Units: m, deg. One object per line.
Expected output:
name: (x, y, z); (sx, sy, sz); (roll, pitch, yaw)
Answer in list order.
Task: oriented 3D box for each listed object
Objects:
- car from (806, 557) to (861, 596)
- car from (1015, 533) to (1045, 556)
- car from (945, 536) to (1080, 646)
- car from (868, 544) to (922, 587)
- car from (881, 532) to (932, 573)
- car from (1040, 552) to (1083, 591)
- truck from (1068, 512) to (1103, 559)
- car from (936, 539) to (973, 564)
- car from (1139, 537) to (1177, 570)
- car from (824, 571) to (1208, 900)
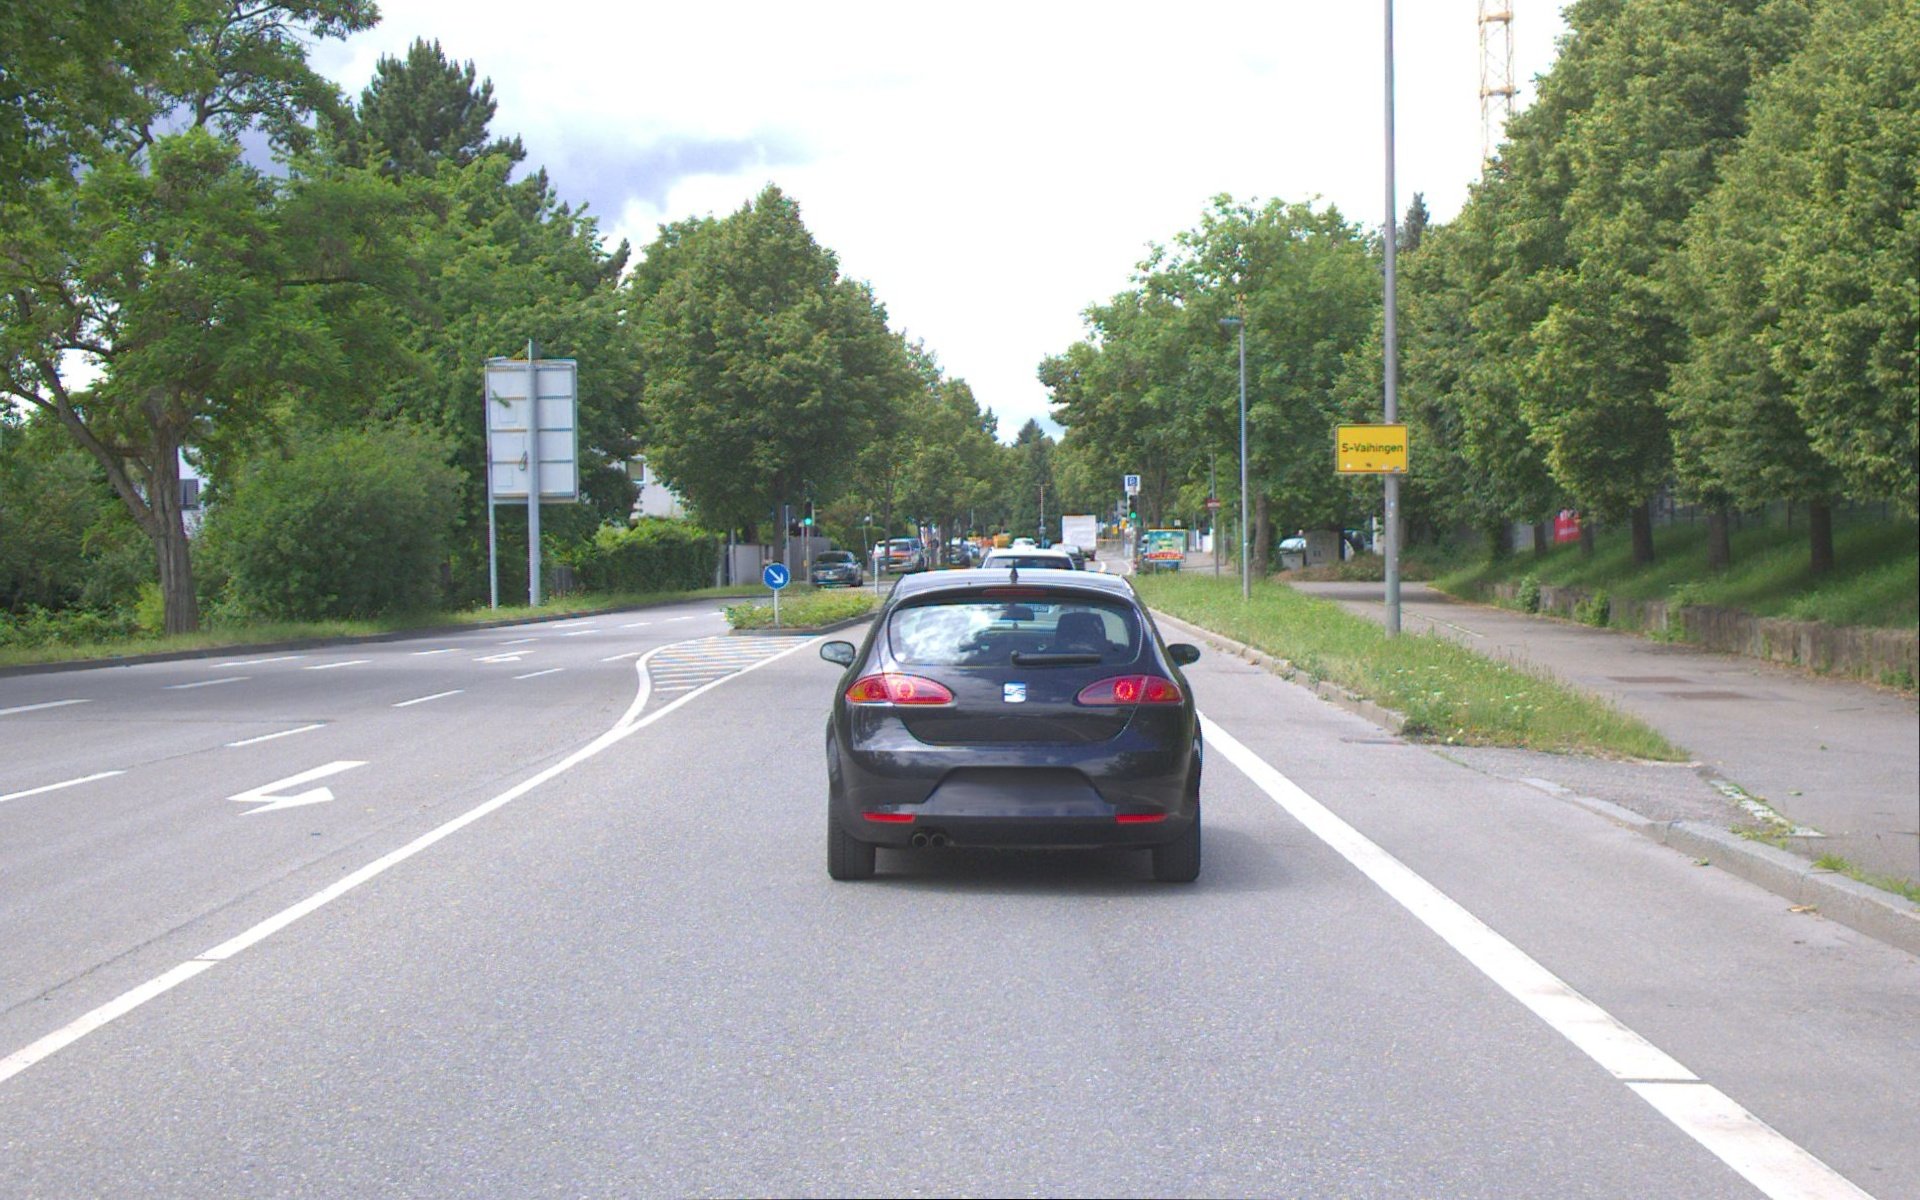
car: (-4.941, -0.920, 134.549); (1.718, 1.390, 4.801); (-2, 1, 3)
car: (5.142, -4.083, 253.618); (1.875, 1.629, 4.340); (-2, 1, 5)
car: (0.770, -0.147, 49.535); (1.846, 1.504, 3.812); (1, 1, 1)
car: (-3.081, -1.670, 163.698); (2.100, 1.890, 5.784); (-2, 1, 3)
car: (-2.660, -2.381, 171.160); (2.100, 1.890, 5.784); (-2, 1, 3)
car: (4.604, -1.301, 155.513); (1.881, 1.683, 4.213); (-1, 1, 3)
truck: (8.433, -4.300, 231.304); (2.279, 3.093, 8.510); (1, 1, 2)
car: (-0.339, -3.140, 220.878); (2.100, 1.501, 5.784); (-2, 1, 3)
car: (9.073, -2.131, 157.568); (1.688, 1.485, 3.355); (-1, 1, 3)
car: (0.258, 0.578, 16.956); (1.663, 1.396, 3.812); (1, 1, 0)
